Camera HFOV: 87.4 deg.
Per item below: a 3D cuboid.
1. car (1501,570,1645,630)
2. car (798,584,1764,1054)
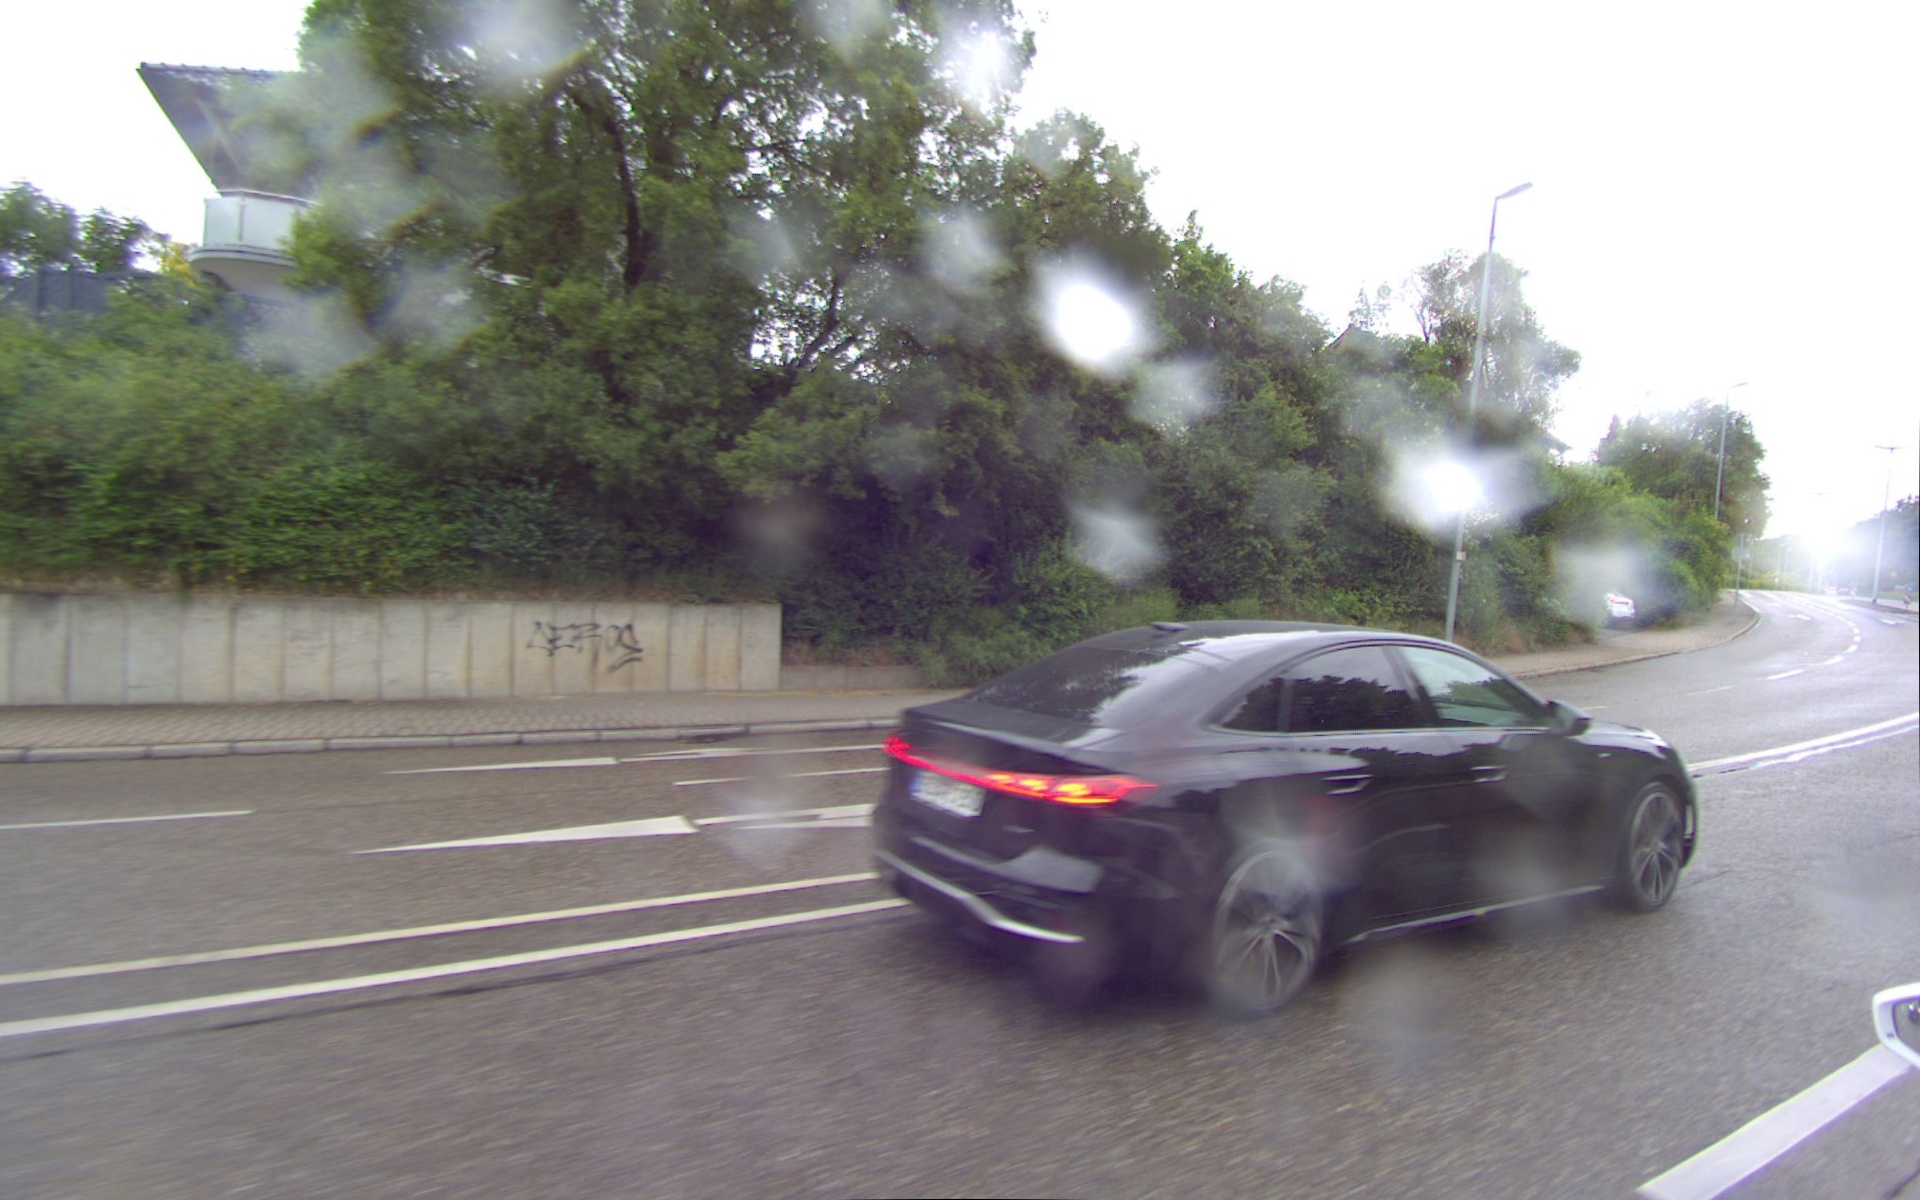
[{"bbox_3d":[21.606,-0.044,35.490,3.943,1.466,1.845,12,8,41],"label":"car"},{"bbox_3d":[1.807,0.790,5.103,4.800,1.416,1.896,4,0,-30],"label":"car"}]
